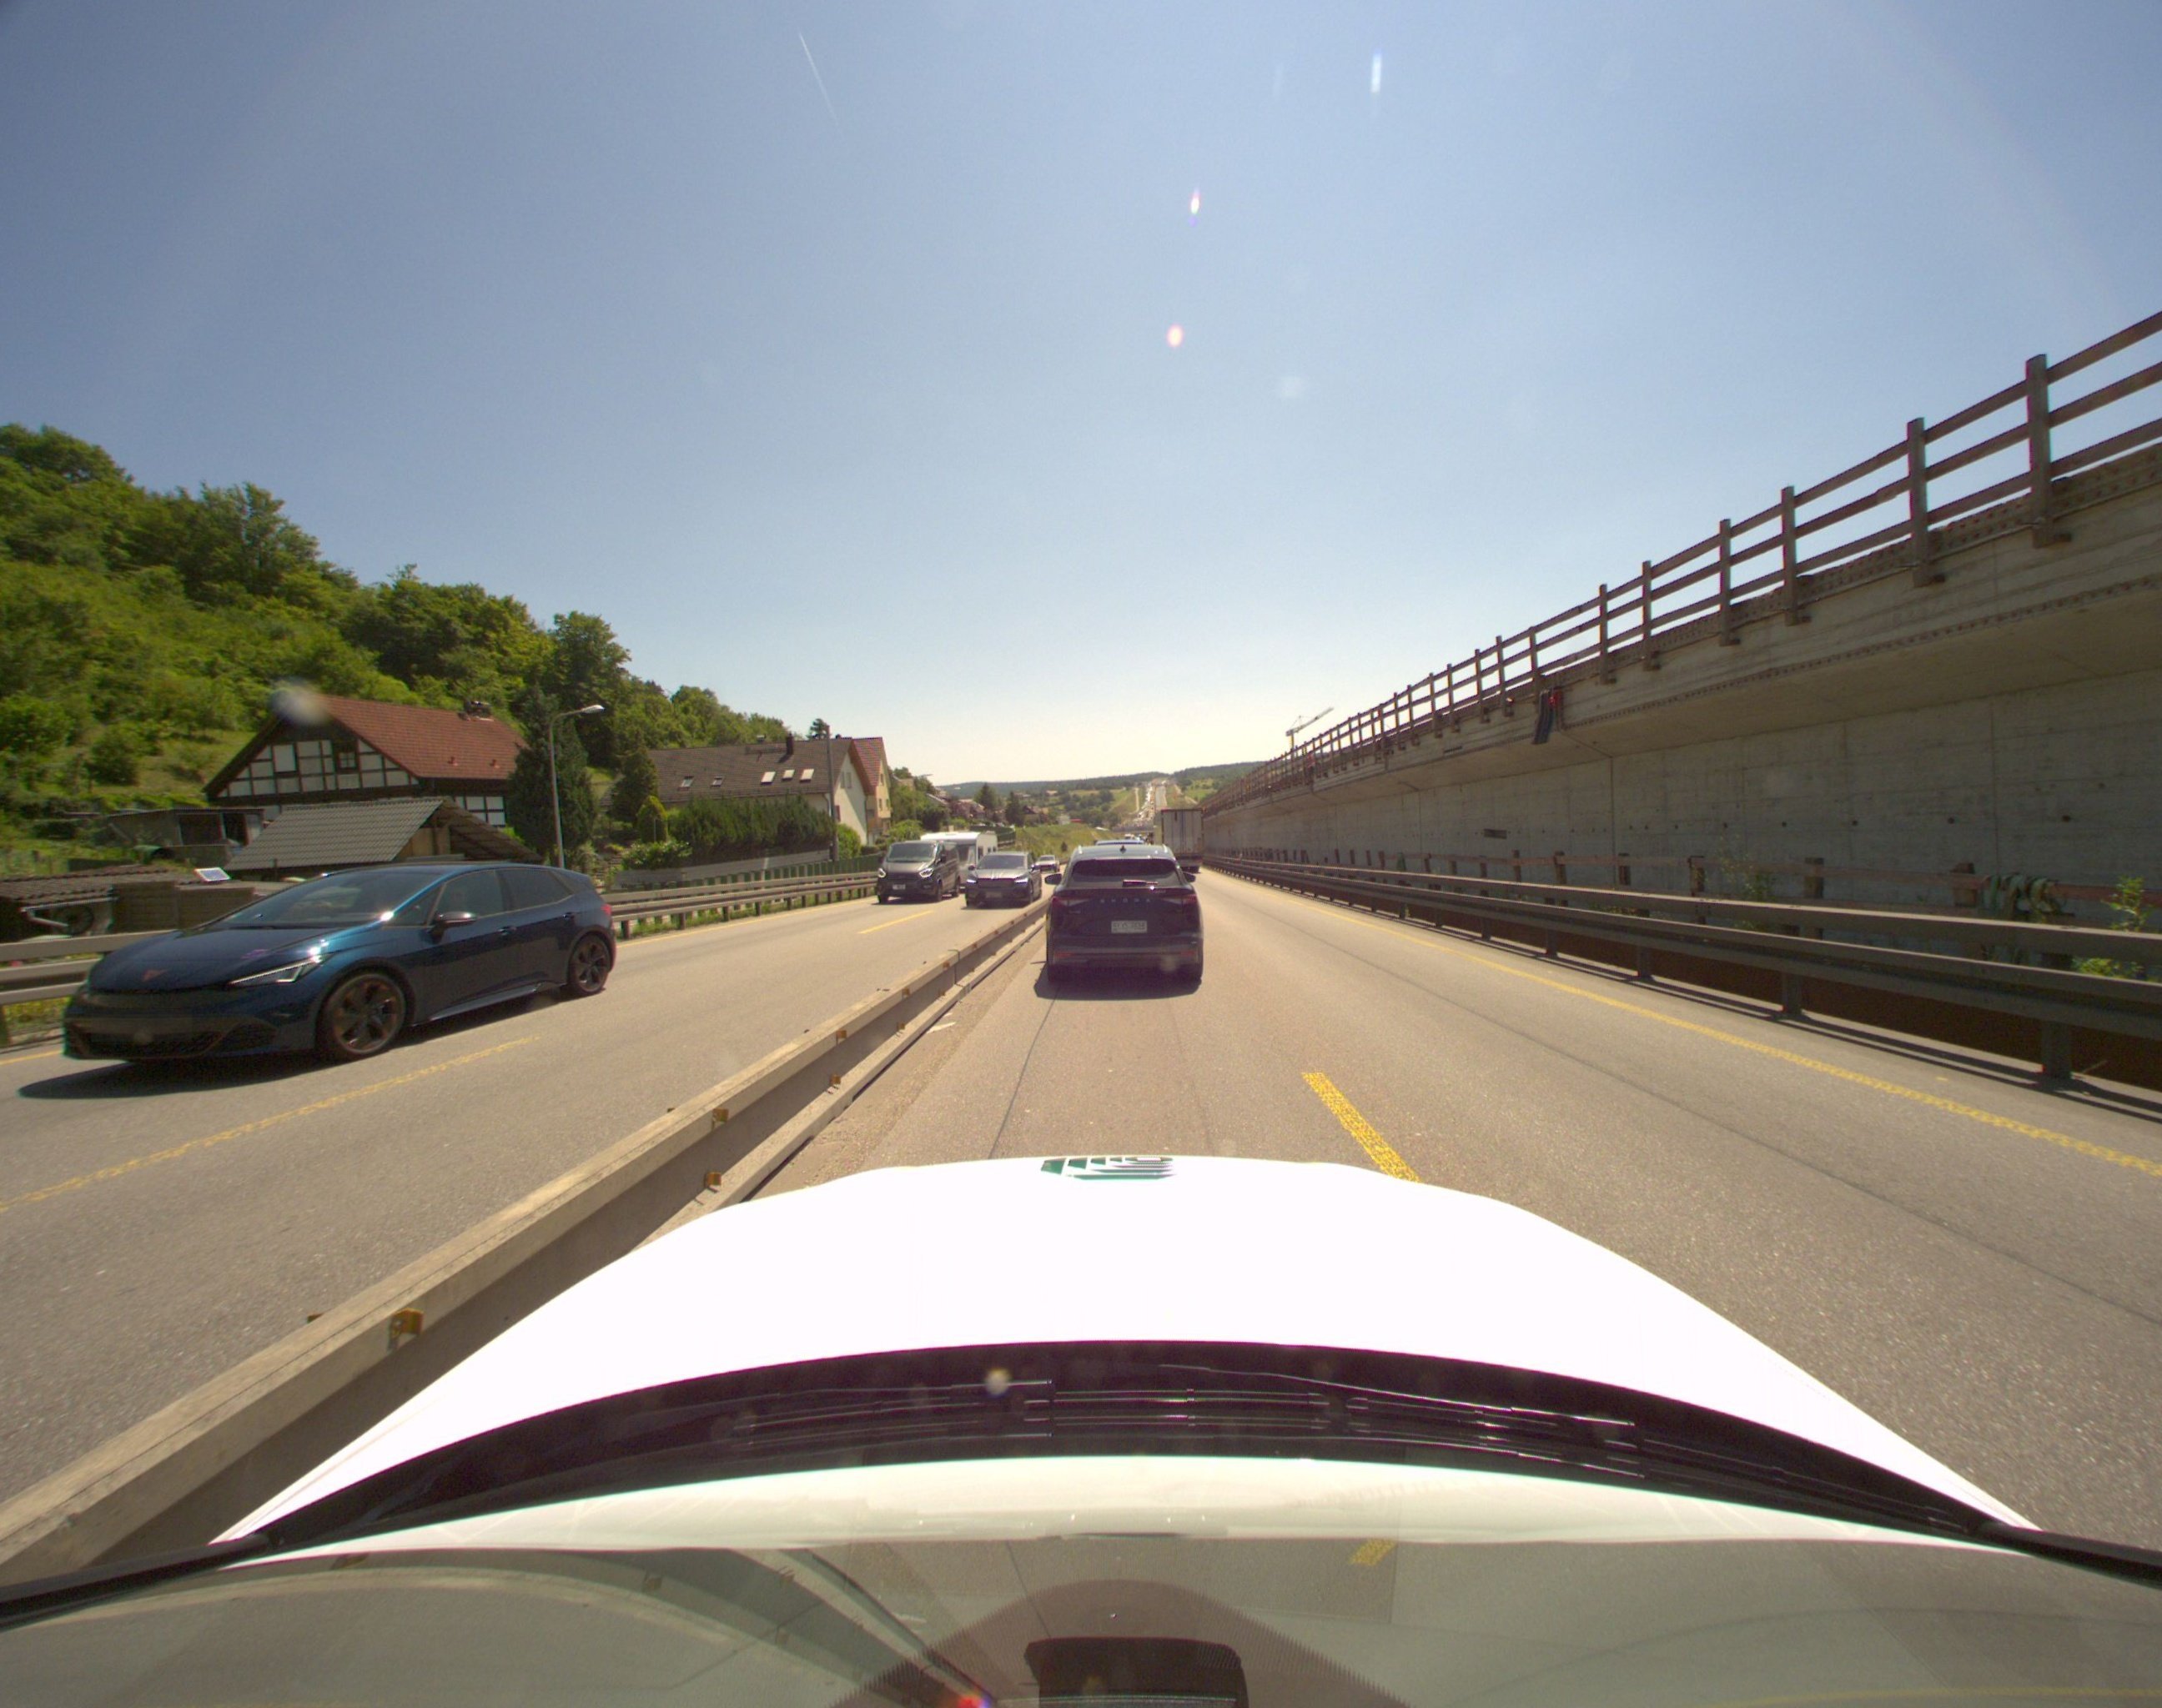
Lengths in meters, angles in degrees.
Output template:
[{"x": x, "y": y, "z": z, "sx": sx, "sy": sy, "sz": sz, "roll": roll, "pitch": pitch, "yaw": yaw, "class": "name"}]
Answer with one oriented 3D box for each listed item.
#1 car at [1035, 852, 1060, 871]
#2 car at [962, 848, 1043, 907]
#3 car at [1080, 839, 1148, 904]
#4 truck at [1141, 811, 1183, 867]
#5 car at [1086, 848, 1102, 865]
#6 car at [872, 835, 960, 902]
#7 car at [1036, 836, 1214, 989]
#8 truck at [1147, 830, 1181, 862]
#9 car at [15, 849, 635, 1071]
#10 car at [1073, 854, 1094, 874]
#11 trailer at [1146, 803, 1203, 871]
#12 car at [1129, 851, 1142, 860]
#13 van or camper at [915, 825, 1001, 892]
[{"x": -2.824, "y": 0.665, "z": 69.855, "sx": 1.835, "sy": 1.543, "sz": 4.179, "roll": -1, "pitch": -1, "yaw": 2, "class": "car"}, {"x": -2.267, "y": 0.689, "z": 24.631, "sx": 1.865, "sy": 1.586, "sz": 4.481, "roll": -1, "pitch": -1, "yaw": 2, "class": "car"}, {"x": 0.970, "y": 0.495, "z": 25.808, "sx": 1.703, "sy": 1.881, "sz": 3.995, "roll": -1, "pitch": 0, "yaw": -4, "class": "car"}, {"x": 6.208, "y": -1.045, "z": 63.428, "sx": 2.505, "sy": 4.025, "sz": 8.236, "roll": -1, "pitch": -1, "yaw": 0, "class": "truck"}, {"x": 1.300, "y": 0.269, "z": 81.603, "sx": 1.541, "sy": 1.549, "sz": 3.239, "roll": -1, "pitch": -1, "yaw": 2, "class": "car"}, {"x": -5.385, "y": 0.482, "z": 27.096, "sx": 1.986, "sy": 2.014, "sz": 4.001, "roll": -1, "pitch": -1, "yaw": 2, "class": "car"}, {"x": 0.365, "y": 0.651, "z": 10.557, "sx": 1.839, "sy": 1.586, "sz": 3.901, "roll": -1, "pitch": -1, "yaw": -4, "class": "car"}, {"x": 9.150, "y": -0.736, "z": 90.898, "sx": 3.181, "sy": 3.191, "sz": 12.820, "roll": -1, "pitch": -1, "yaw": 4, "class": "truck"}, {"x": -6.411, "y": 0.772, "z": 7.778, "sx": 1.835, "sy": 1.516, "sz": 4.258, "roll": -1, "pitch": -1, "yaw": 2, "class": "car"}, {"x": 0.203, "y": 0.805, "z": 65.785, "sx": 1.541, "sy": 1.549, "sz": 3.239, "roll": -1, "pitch": -1, "yaw": 2, "class": "car"}, {"x": 6.194, "y": -0.945, "z": 55.721, "sx": 2.524, "sy": 4.127, "sz": 11.545, "roll": -1, "pitch": -1, "yaw": 0, "class": "trailer"}, {"x": 9.340, "y": 0.276, "z": 138.842, "sx": 1.987, "sy": 1.585, "sz": 3.836, "roll": -1, "pitch": -1, "yaw": 1, "class": "car"}, {"x": -5.022, "y": 0.232, "z": 34.336, "sx": 2.344, "sy": 2.516, "sz": 6.332, "roll": -1, "pitch": -1, "yaw": 3, "class": "van or camper"}]
